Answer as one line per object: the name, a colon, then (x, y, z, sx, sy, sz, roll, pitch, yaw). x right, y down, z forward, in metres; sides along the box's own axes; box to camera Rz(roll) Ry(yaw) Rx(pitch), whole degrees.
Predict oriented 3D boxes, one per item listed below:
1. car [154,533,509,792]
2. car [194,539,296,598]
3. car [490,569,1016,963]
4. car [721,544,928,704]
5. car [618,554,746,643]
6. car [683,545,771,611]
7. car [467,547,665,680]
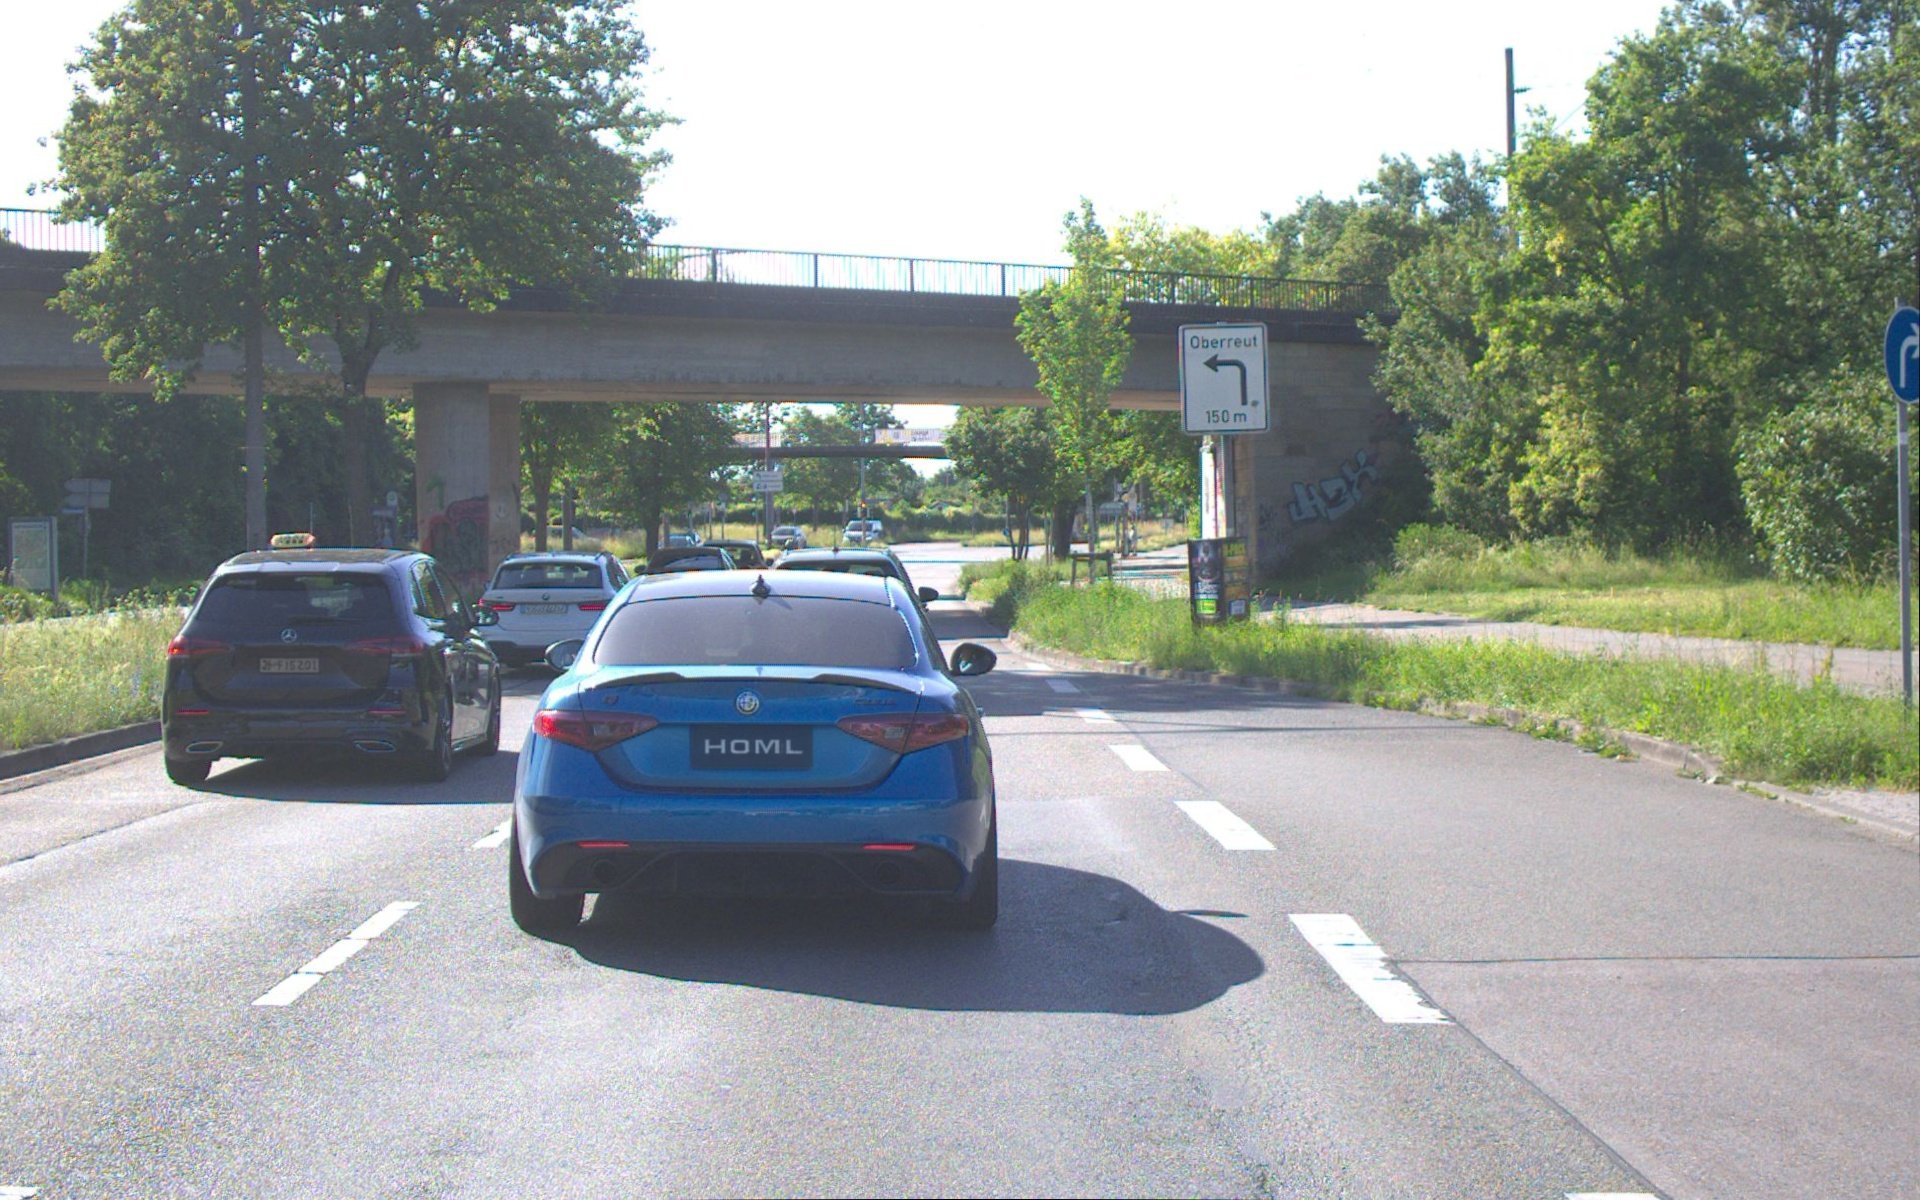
car: (-4.180, 0.368, 23.449, 1.708, 1.592, 4.224, 1, 1, -1)
car: (-18.334, -0.802, 88.260, 1.816, 1.437, 4.090, -1, 1, -1)
car: (-0.786, 0.583, 14.534, 1.883, 1.401, 4.224, 1, 1, -1)
car: (-1.285, 0.199, 33.776, 1.883, 1.449, 4.526, 1, 1, -1)
car: (-4.712, -0.047, 58.774, 1.883, 1.449, 4.526, 1, 1, -1)
car: (-5.311, -0.529, 78.733, 1.779, 1.449, 4.182, -1, 1, -1)
car: (-4.573, 0.126, 40.454, 1.883, 1.449, 4.526, 1, 1, -1)
